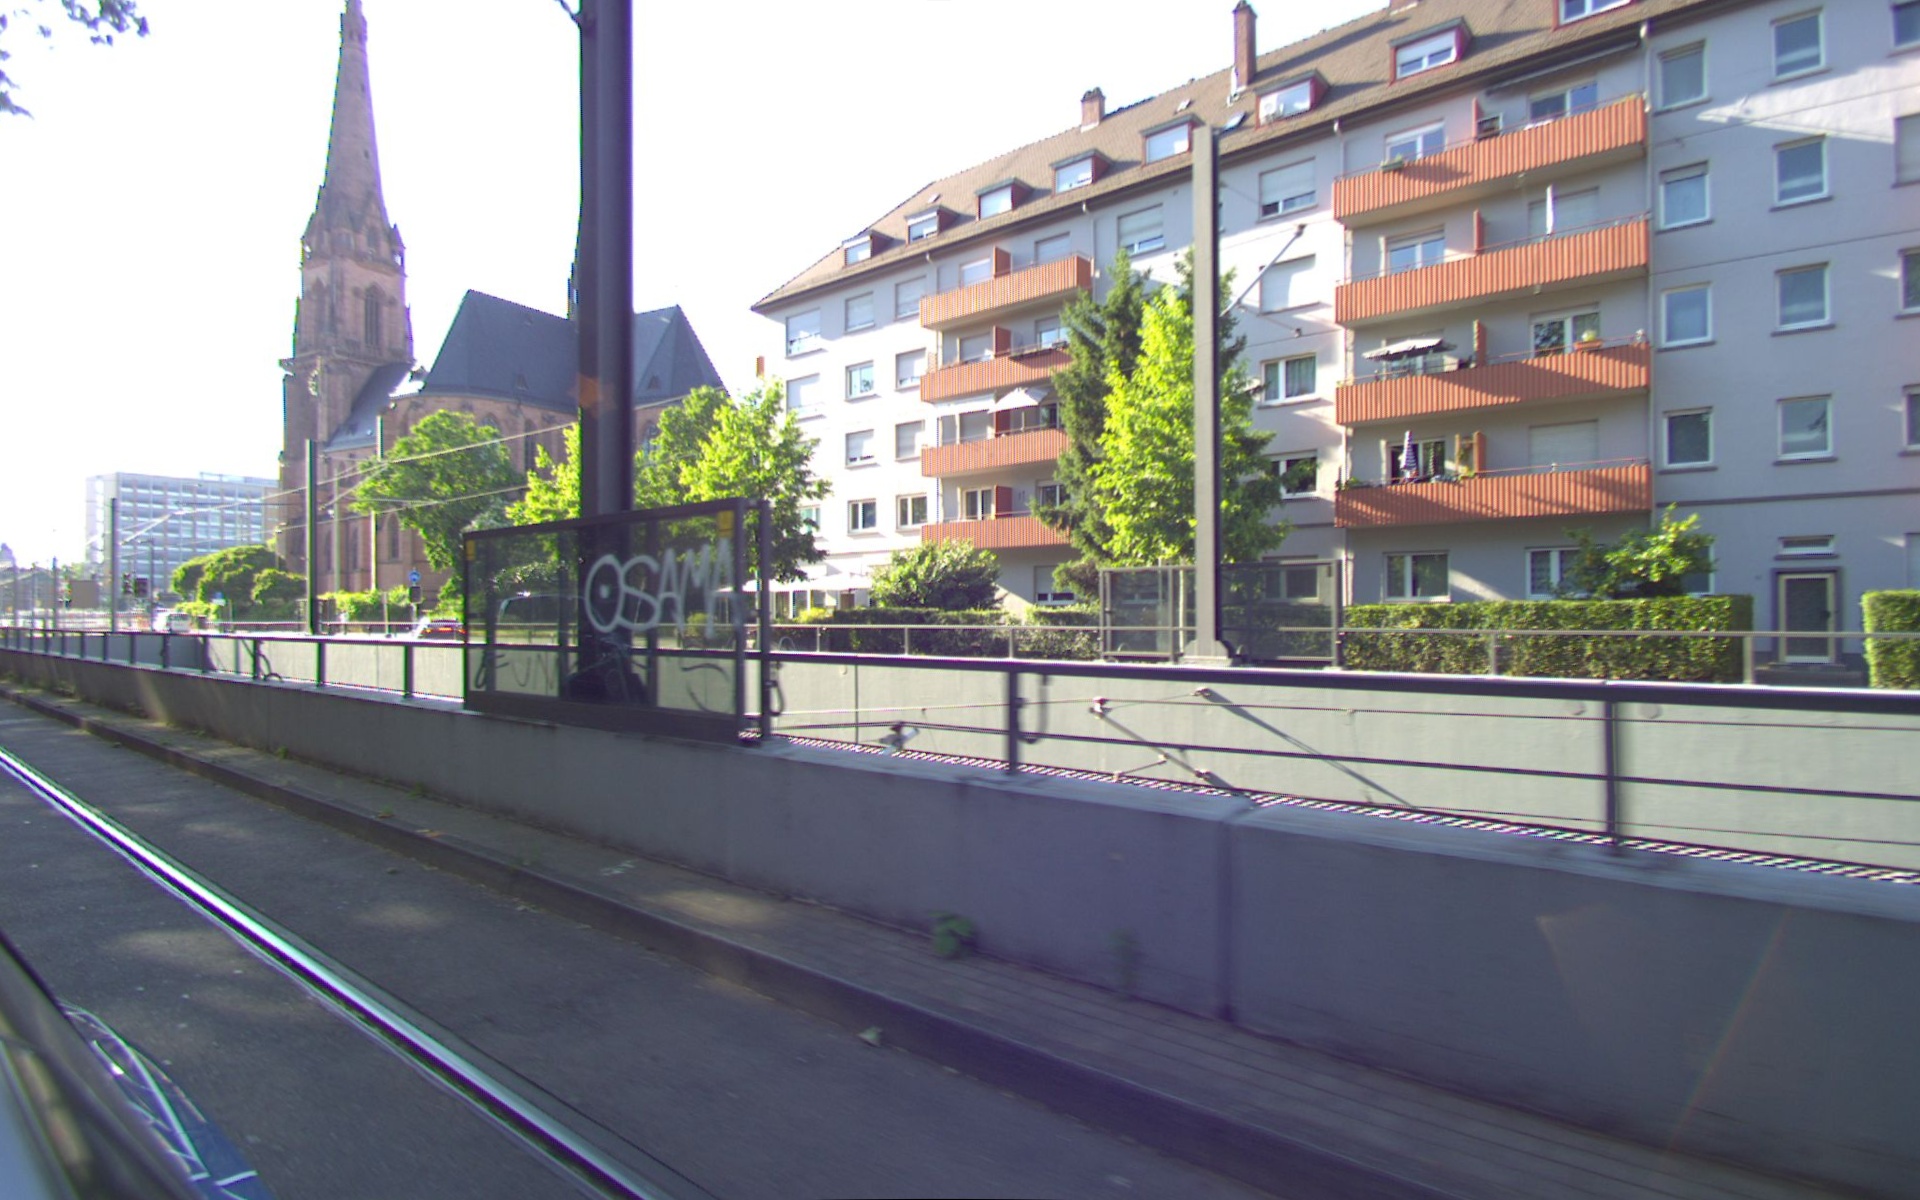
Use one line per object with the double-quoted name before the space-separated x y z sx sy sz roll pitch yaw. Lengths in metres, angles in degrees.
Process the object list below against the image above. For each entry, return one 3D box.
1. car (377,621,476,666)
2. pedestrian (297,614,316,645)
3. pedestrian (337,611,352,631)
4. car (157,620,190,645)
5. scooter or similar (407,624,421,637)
"car" -20.393 1.606 38.623 4.408 1.515 1.949 -1 1 43
"pedestrian" -36.421 1.649 56.396 0.751 1.685 0.490 -2 1 26
"pedestrian" -47.051 1.607 77.350 0.945 1.500 0.580 -2 1 38
"car" -67.318 2.774 86.587 1.968 2.029 5.020 3 -3 -40
"scooter or similar" -39.004 2.183 72.332 0.913 0.943 0.306 -2 1 20
